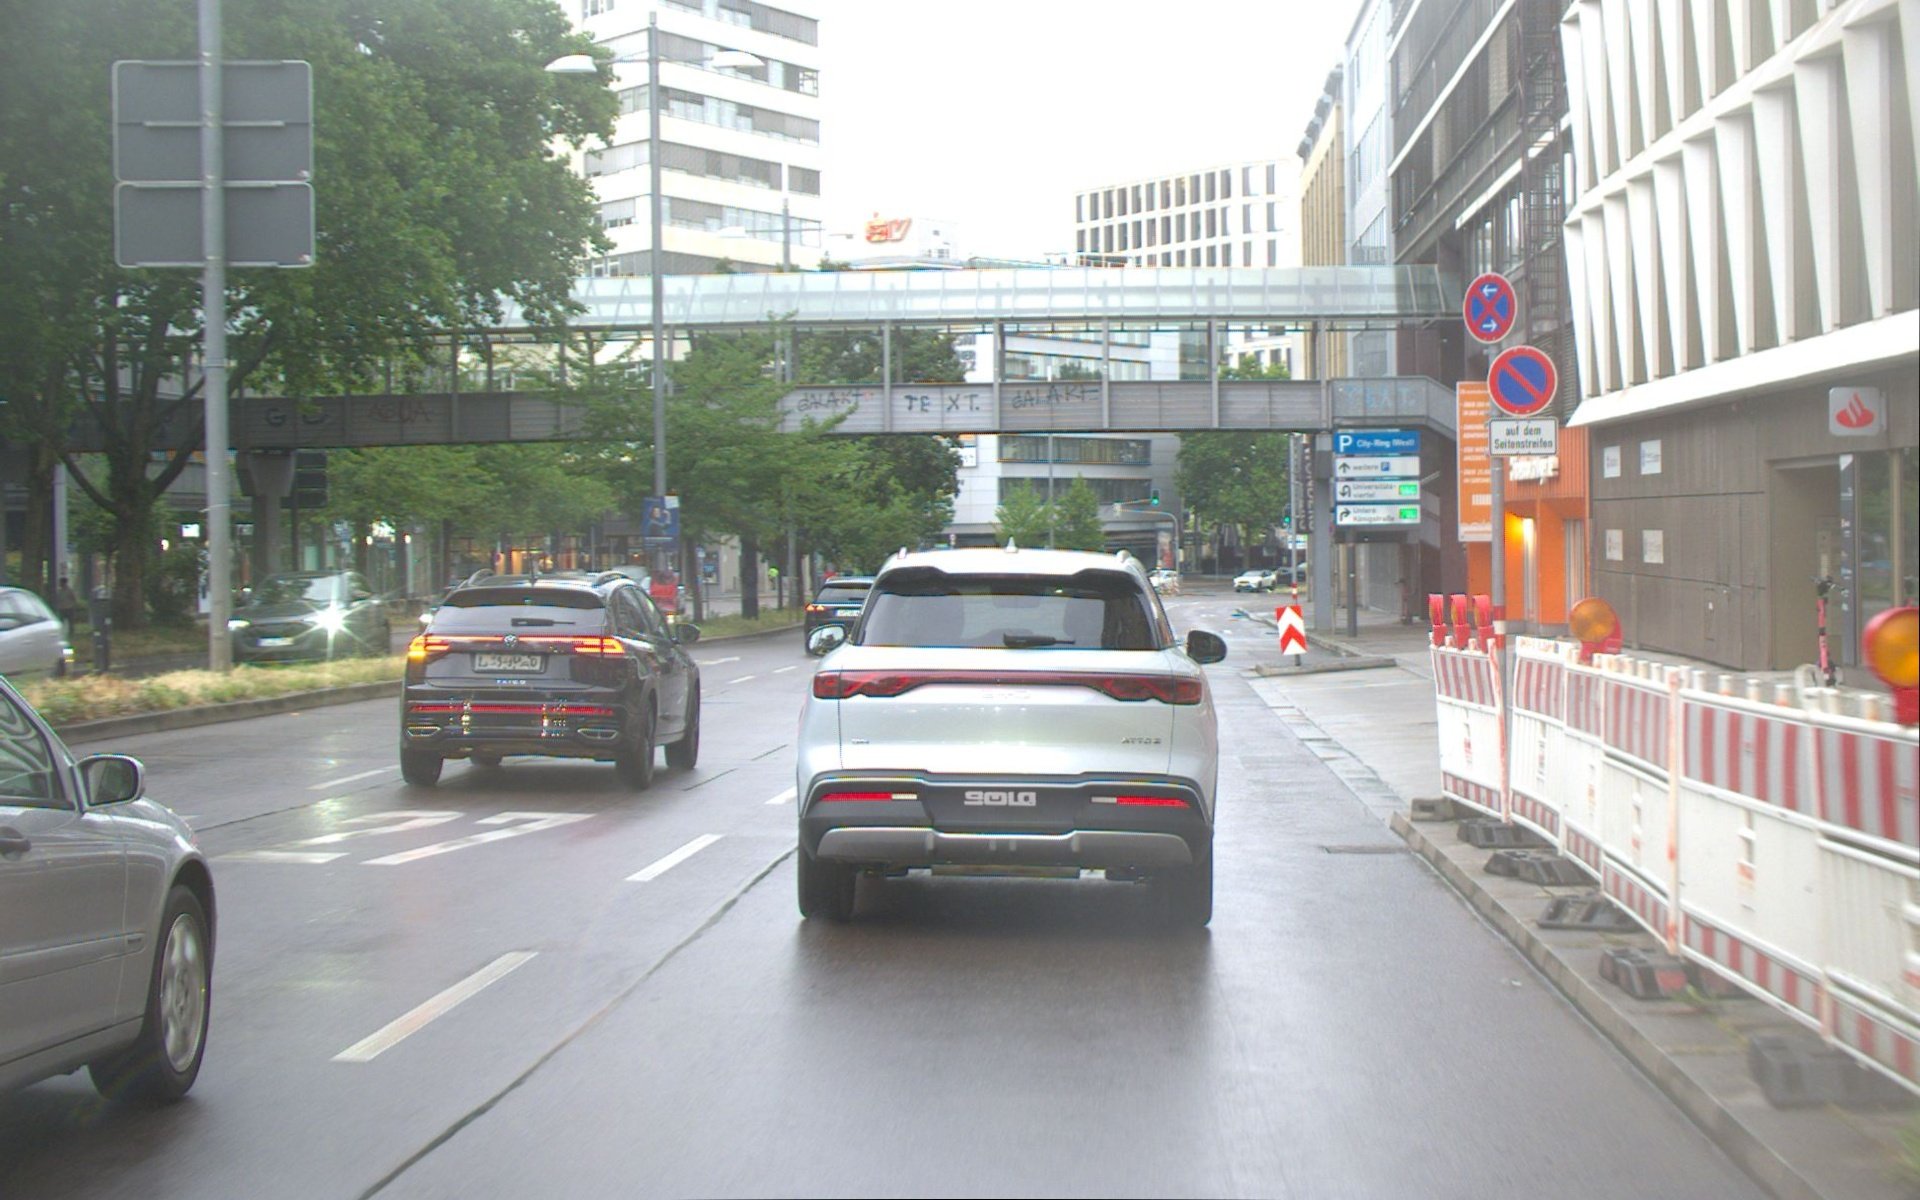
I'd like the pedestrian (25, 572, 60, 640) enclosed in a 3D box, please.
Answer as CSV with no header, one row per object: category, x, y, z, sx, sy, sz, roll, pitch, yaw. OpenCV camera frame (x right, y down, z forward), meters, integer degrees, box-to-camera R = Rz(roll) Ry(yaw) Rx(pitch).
pedestrian,-24.398,0.147,91.426,0.722,1.801,0.617,0,1,3

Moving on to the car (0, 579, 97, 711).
car,-10.571,0.469,36.230,1.597,1.355,4.116,0,0,5

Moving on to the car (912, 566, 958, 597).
car,-1.066,-0.815,149.829,1.654,1.337,3.999,0,0,5

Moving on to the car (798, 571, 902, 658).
car,-2.036,0.252,64.576,1.811,1.573,4.000,0,0,0

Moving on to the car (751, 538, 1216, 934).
car,0.189,0.556,16.062,1.901,1.616,4.000,0,0,3

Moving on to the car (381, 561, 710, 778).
car,-2.938,0.481,25.140,1.774,1.452,4.000,0,0,2

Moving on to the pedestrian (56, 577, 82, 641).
pedestrian,-23.682,0.236,91.394,0.559,1.680,0.511,0,1,3

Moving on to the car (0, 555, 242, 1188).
car,-3.065,0.622,7.990,1.672,1.474,4.360,1,-1,3

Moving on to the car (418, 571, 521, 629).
car,-12.408,0.009,87.168,1.691,1.433,4.758,0,0,3

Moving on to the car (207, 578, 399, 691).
car,-10.187,0.532,53.628,1.874,1.674,4.680,0,0,3

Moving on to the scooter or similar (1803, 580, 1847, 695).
scooter or similar,9.425,0.398,37.483,0.412,1.232,1.188,0,0,12
